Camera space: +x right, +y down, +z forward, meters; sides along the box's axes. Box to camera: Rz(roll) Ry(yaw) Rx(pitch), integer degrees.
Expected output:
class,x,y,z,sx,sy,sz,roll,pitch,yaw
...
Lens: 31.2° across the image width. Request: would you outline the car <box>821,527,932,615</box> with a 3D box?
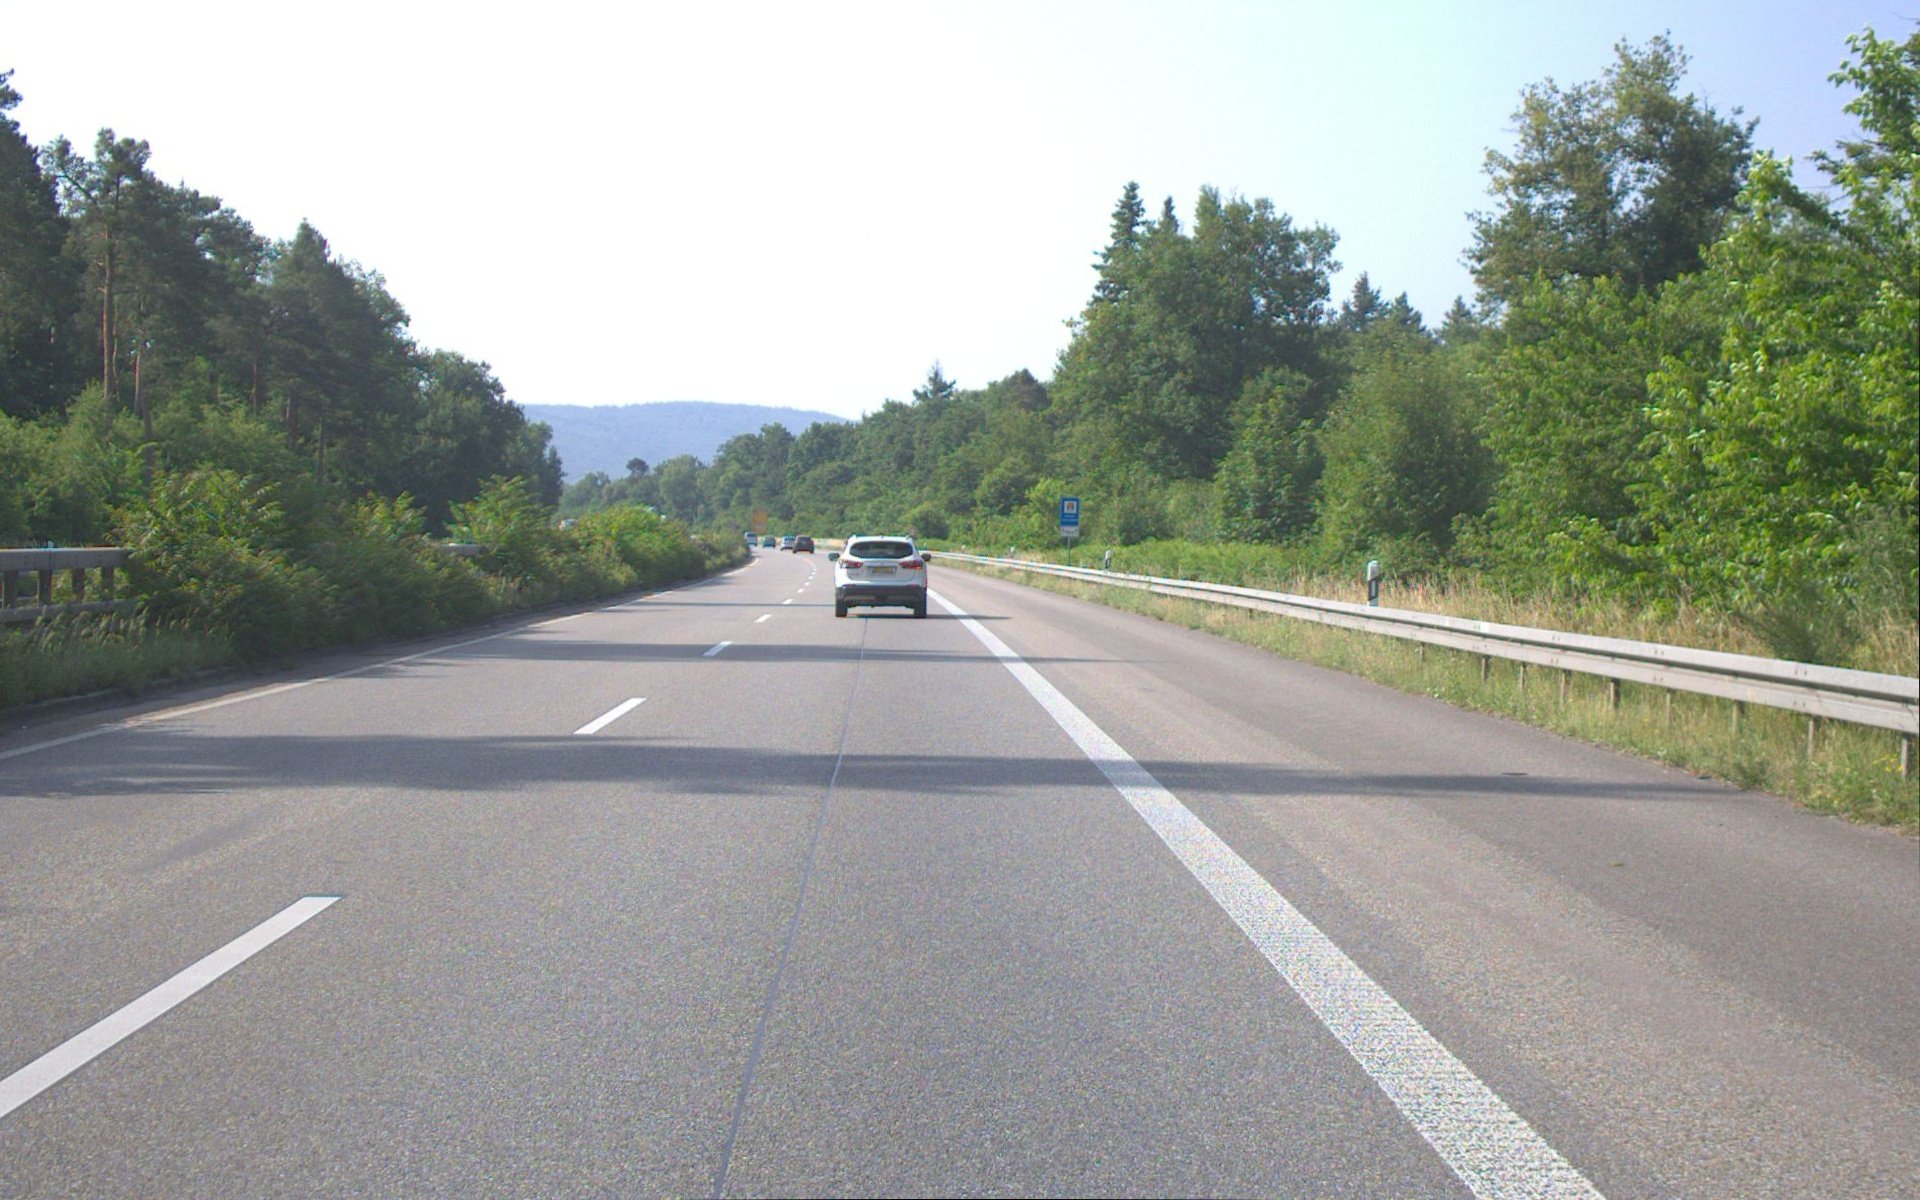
class,x,y,z,sx,sy,sz,roll,pitch,yaw
car,-1.676,-0.590,67.738,1.873,1.580,4.001,2,1,-5
